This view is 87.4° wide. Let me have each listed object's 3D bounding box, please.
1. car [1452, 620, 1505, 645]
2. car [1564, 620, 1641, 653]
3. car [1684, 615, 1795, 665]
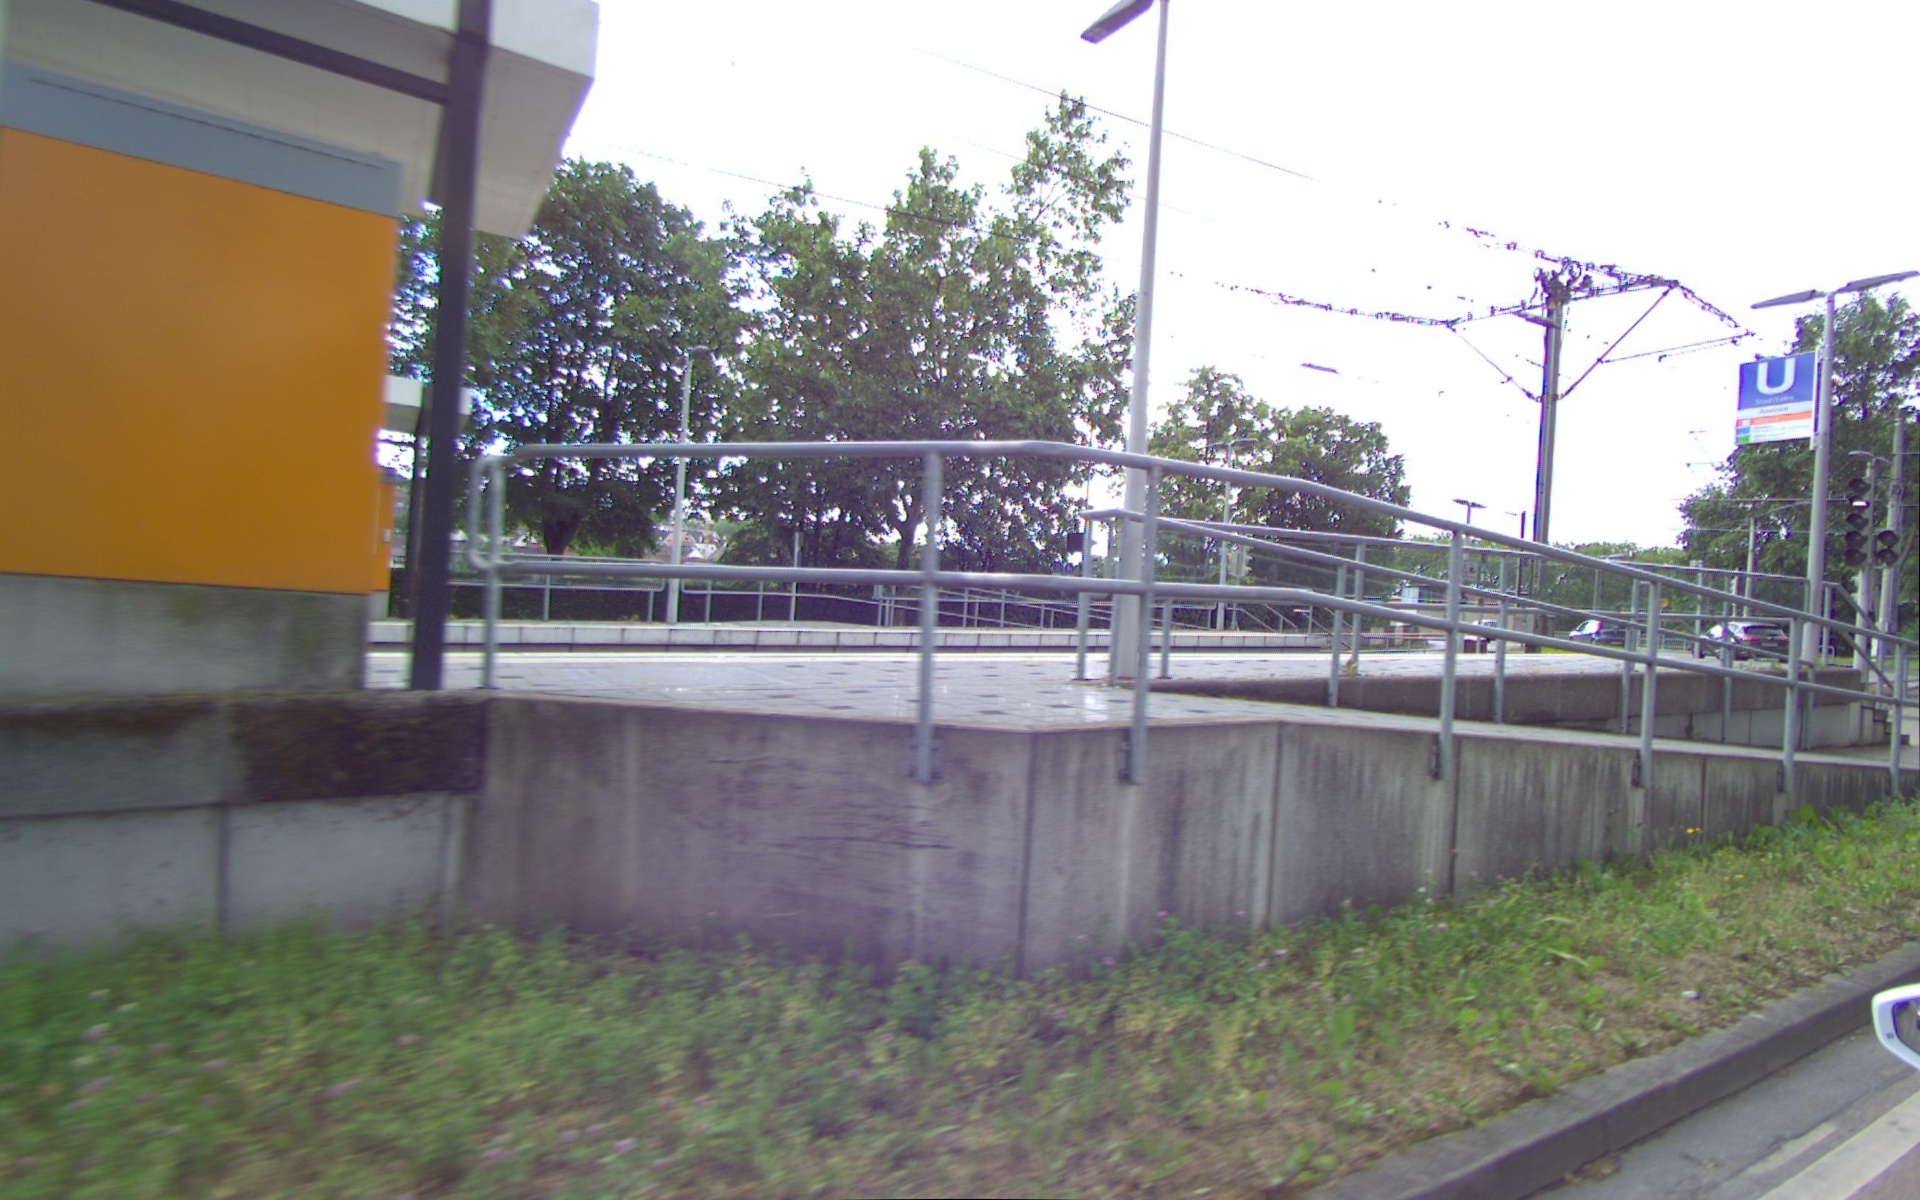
[{"bbox_3d":[34.119,2.118,66.222,1.959,1.418,4.002,2,0,9],"label":"car"},{"bbox_3d":[32.106,1.804,50.331,1.959,1.418,4.002,2,0,13],"label":"car"},{"bbox_3d":[29.444,1.450,38.096,1.751,1.670,4.002,2,0,13],"label":"car"}]
